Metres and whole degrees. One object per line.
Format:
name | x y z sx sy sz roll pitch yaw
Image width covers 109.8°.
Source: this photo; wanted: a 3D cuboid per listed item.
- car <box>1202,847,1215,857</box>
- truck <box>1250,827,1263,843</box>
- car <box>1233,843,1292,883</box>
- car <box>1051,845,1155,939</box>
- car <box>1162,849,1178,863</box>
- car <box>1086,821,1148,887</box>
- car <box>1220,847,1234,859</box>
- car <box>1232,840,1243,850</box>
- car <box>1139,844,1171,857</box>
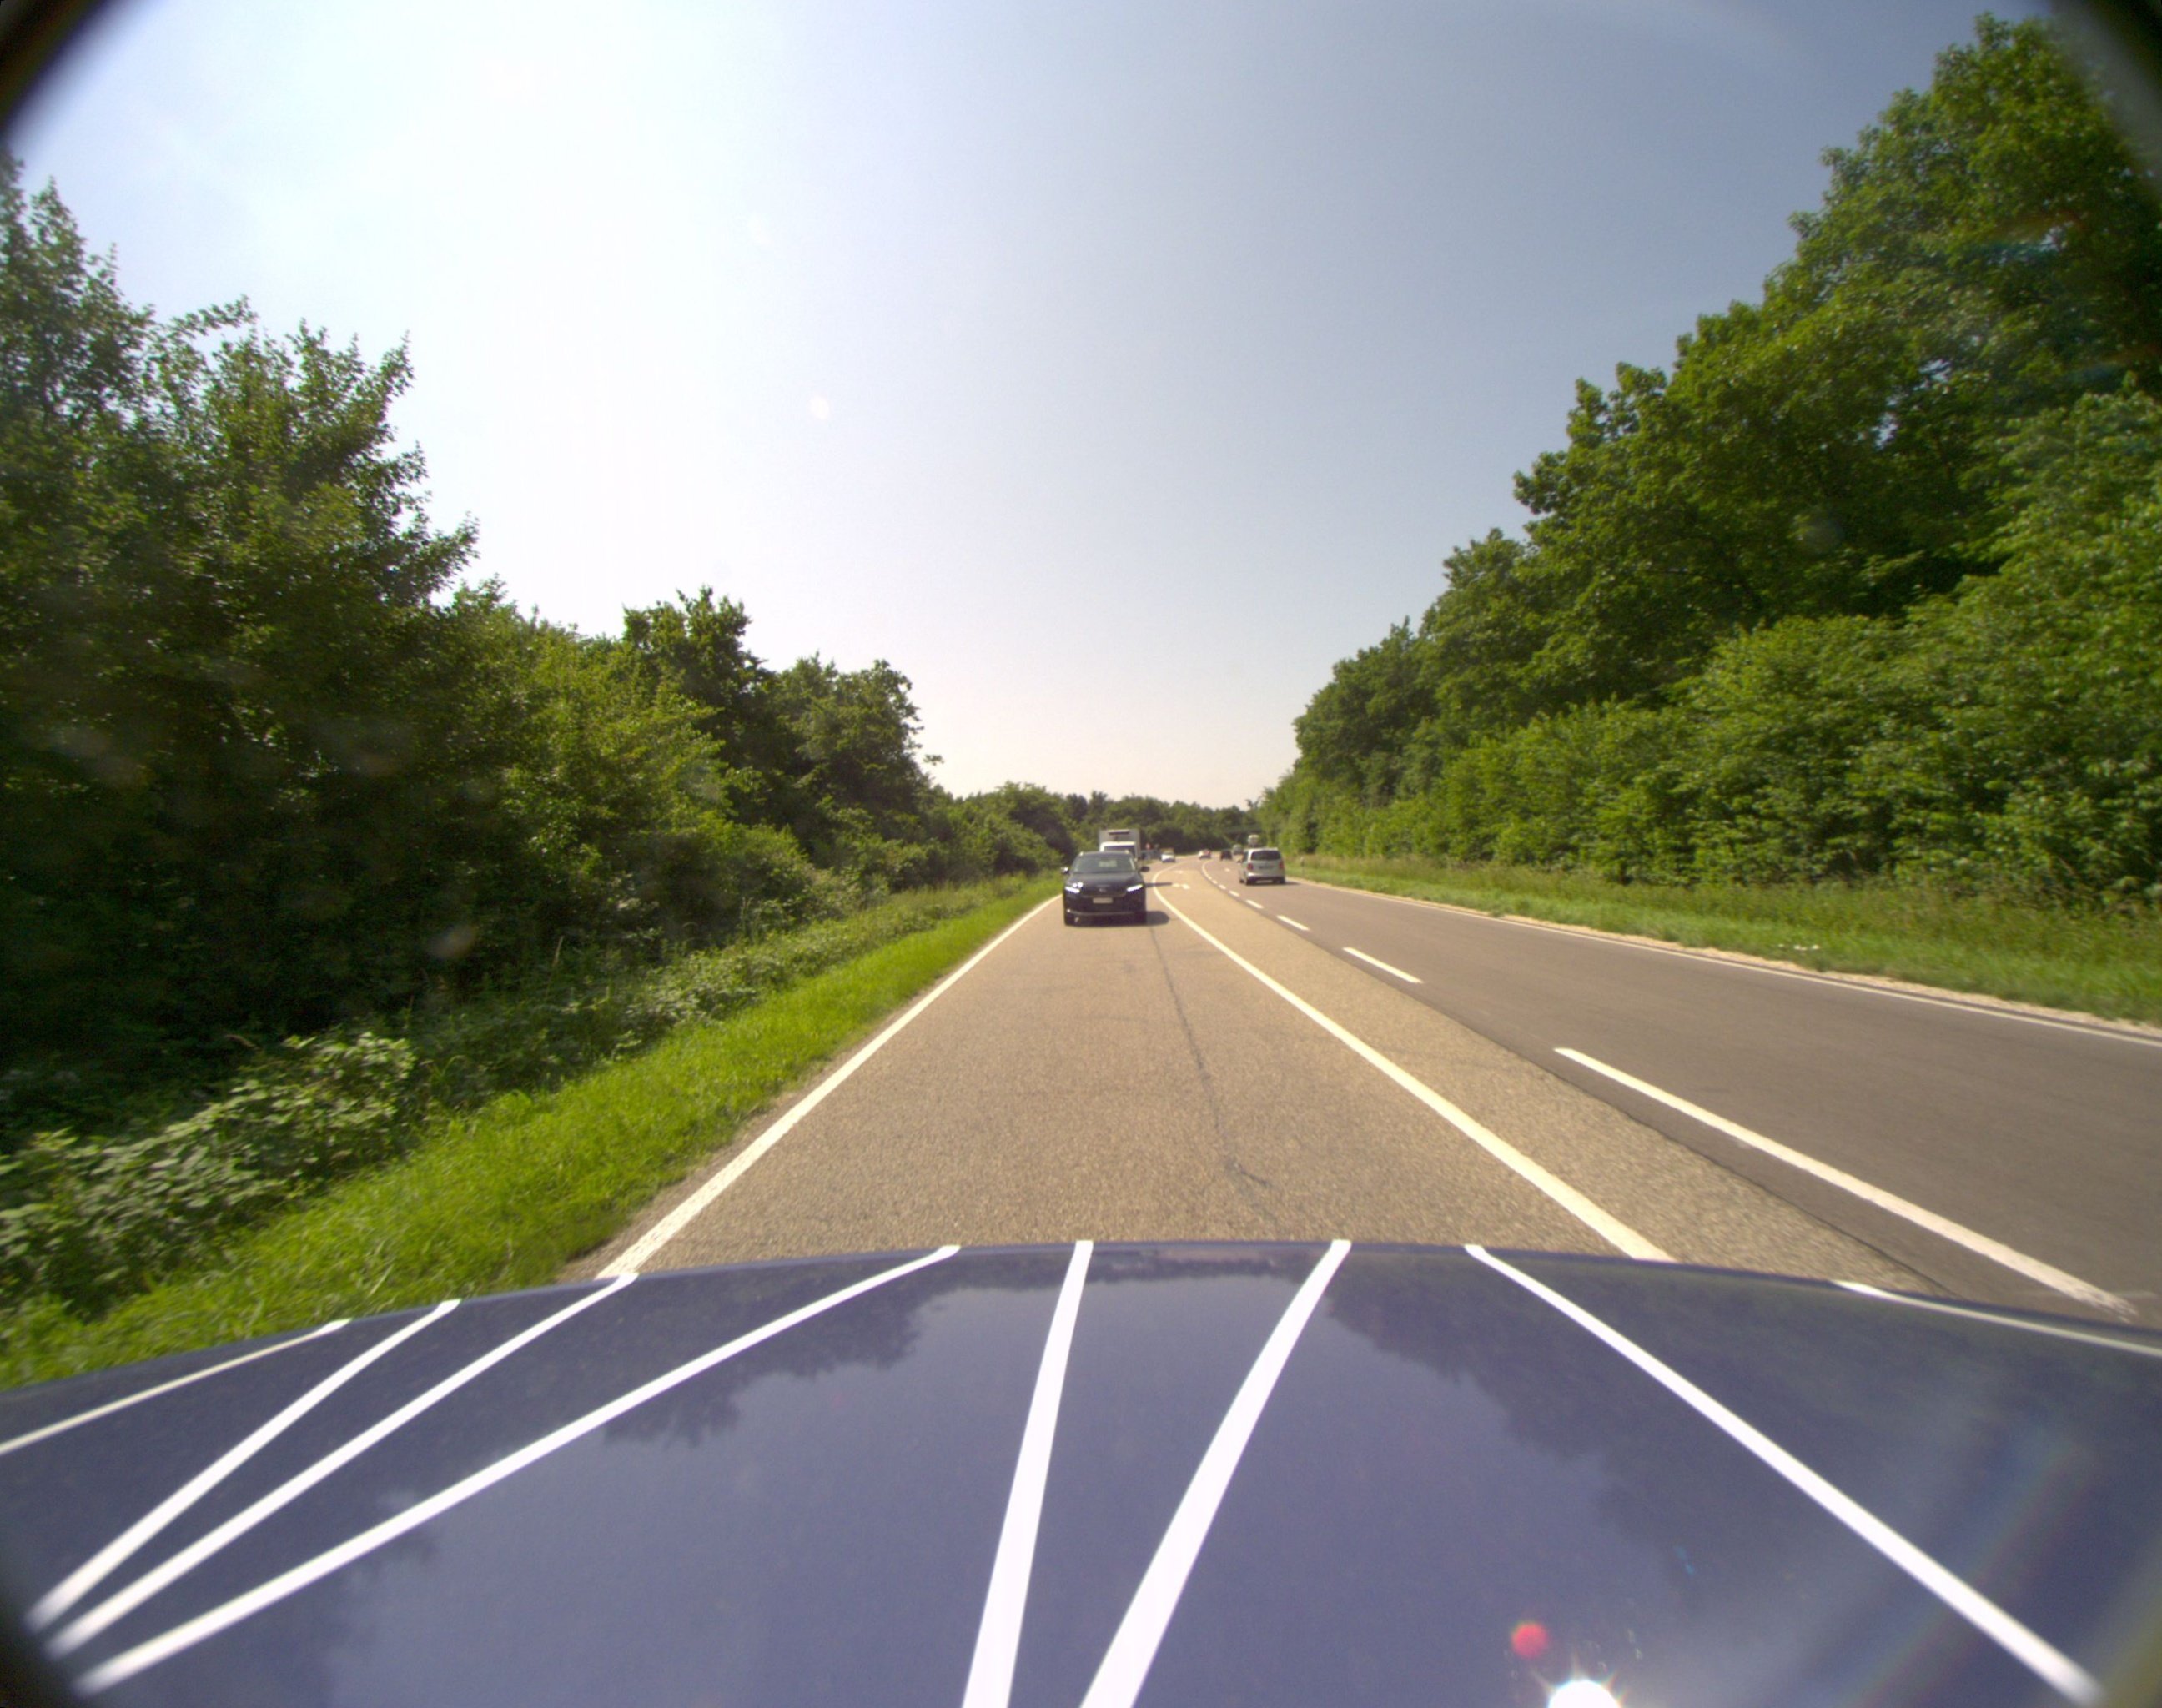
car | 20.647 -0.302 123.044 1.711 1.411 4.101 -3 1 12
truck | 42.661 -4.630 184.521 2.631 3.650 8.804 -2 1 16
car | 8.279 0.371 35.003 1.806 1.627 4.212 -3 1 3
car | 0.570 0.711 17.450 1.924 1.711 5.479 -3 1 3
car | 12.598 0.293 107.732 1.809 1.797 4.000 -3 0 3
car | 2.012 -0.078 39.722 2.590 3.047 6.883 -3 1 7
car | 19.966 -0.148 104.284 1.617 1.493 3.554 -2 0 7
car | 29.833 -1.794 144.862 1.846 1.769 4.897 -3 0 10
car | 12.629 -0.617 129.848 5.228 1.896 2.012 -4 2 -4
